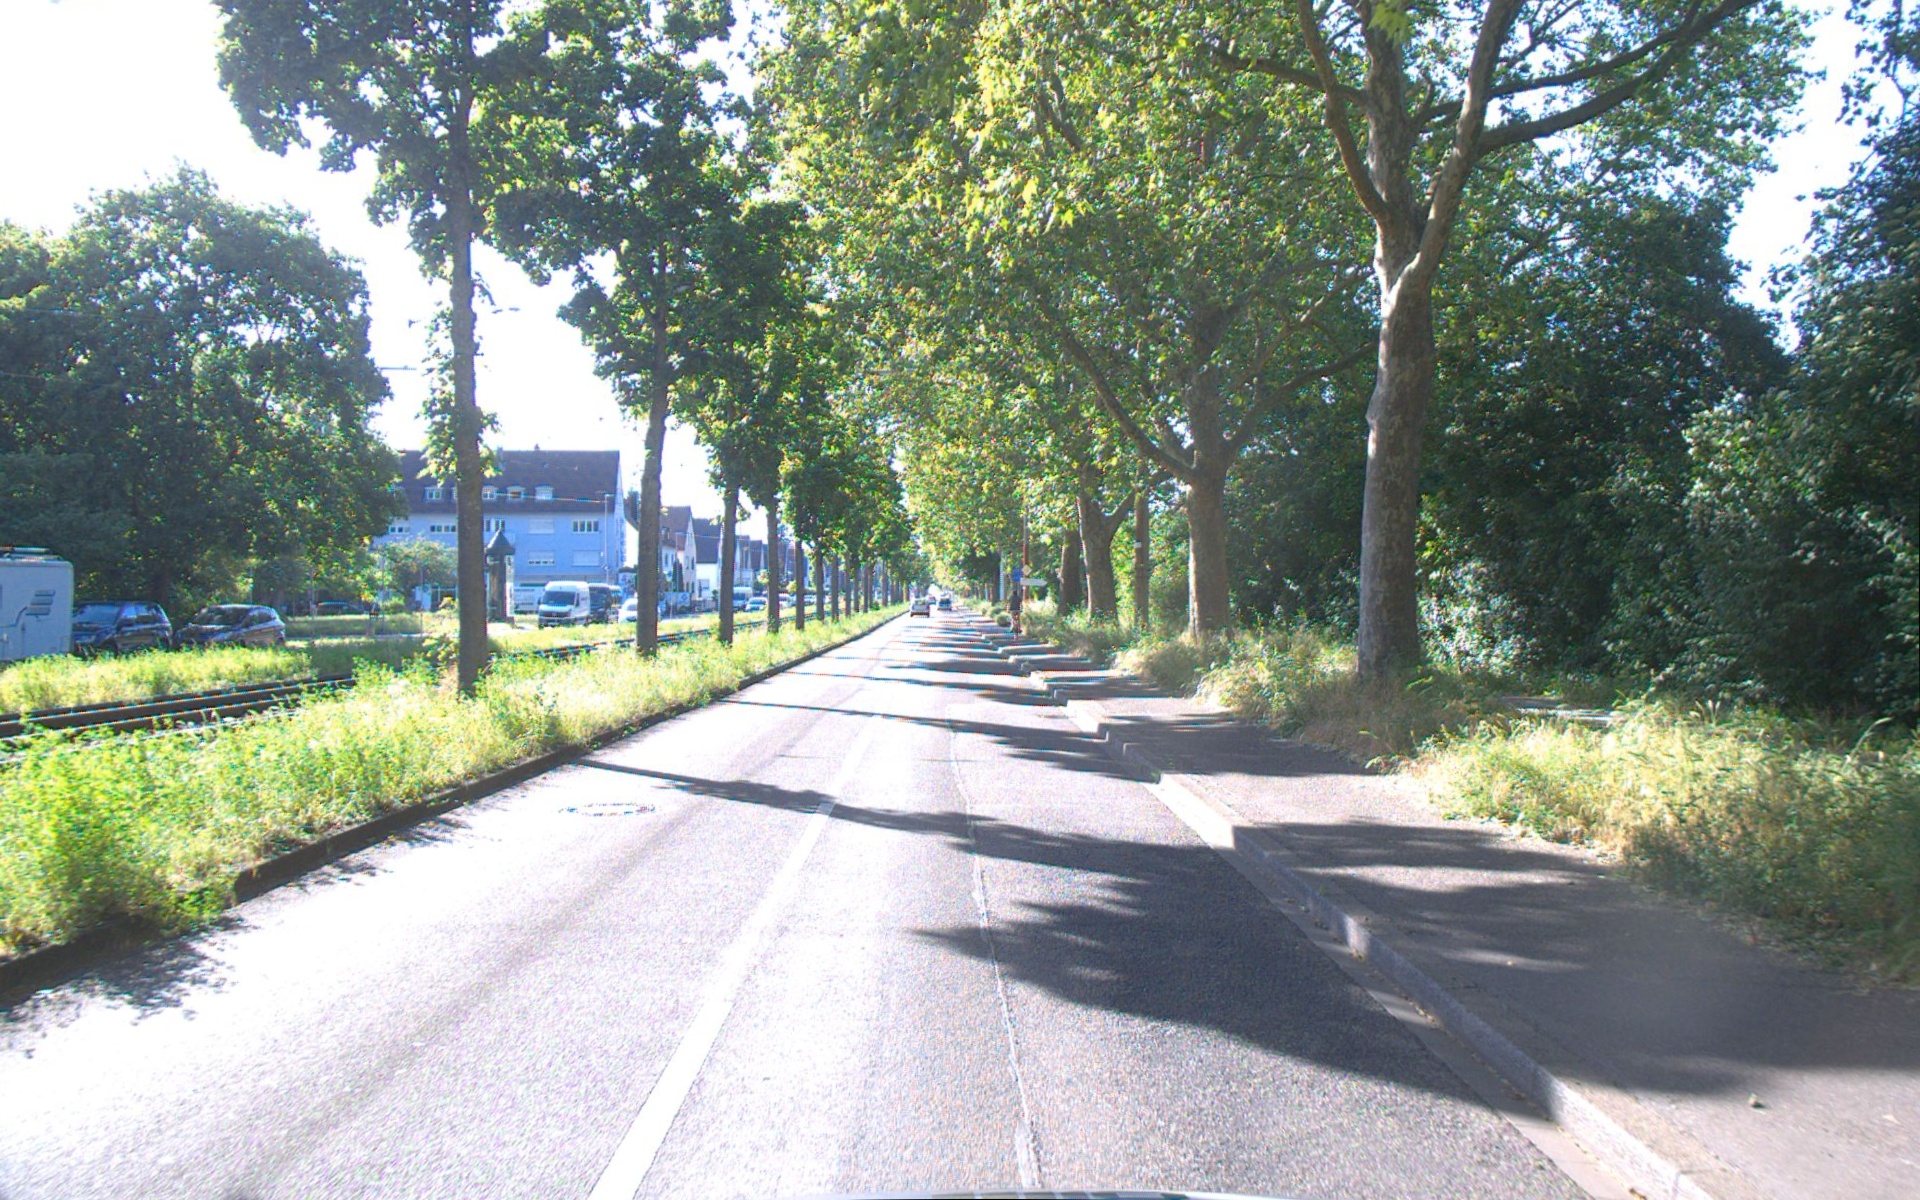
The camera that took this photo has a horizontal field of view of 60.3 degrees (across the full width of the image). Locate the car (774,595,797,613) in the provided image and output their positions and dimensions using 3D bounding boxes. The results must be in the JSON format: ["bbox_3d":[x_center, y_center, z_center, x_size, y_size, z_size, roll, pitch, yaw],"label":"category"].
[{"bbox_3d":[-17.275,0.413,163.698,1.774,1.775,4.981,1,0,-1],"label":"car"}]

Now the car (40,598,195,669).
[{"bbox_3d":[-20.907,0.803,41.254,1.589,1.651,4.532,1,0,-1],"label":"car"}]

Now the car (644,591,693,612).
[{"bbox_3d":[-27.659,0.156,156.910,4.535,1.979,1.994,0,0,-12],"label":"car"}]

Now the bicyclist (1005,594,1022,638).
[{"bbox_3d":[2.023,0.602,62.578,0.601,1.657,0.909,-1,0,-1],"label":"bicyclist"}]

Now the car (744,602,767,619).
[{"bbox_3d":[-17.440,0.903,141.281,1.525,1.419,3.819,1,0,-1],"label":"car"}]

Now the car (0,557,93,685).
[{"bbox_3d":[-20.697,0.414,34.044,2.180,2.625,6.798,1,0,-1],"label":"car"}]

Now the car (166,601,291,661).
[{"bbox_3d":[-21.029,0.864,47.726,1.640,1.612,4.248,1,0,1],"label":"car"}]

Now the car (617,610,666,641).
[{"bbox_3d":[-16.755,1.329,87.073,1.691,1.555,4.442,1,0,0],"label":"car"}]

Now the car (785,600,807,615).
[{"bbox_3d":[-17.790,0.806,179.359,1.952,1.558,3.751,-1,0,0],"label":"car"}]

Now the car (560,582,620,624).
[{"bbox_3d":[-22.015,0.191,98.657,2.138,2.418,6.463,1,0,-1],"label":"car"}]

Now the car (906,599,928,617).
[{"bbox_3d":[-3.419,0.614,133.172,1.703,1.425,3.276,1,0,-1],"label":"car"}]

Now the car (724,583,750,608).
[{"bbox_3d":[-22.953,-0.487,170.481,1.953,2.502,6.673,1,0,-1],"label":"car"}]

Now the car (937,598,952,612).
[{"bbox_3d":[-1.747,0.516,186.566,1.725,1.539,3.276,1,0,0],"label":"car"}]

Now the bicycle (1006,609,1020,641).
[{"bbox_3d":[2.011,0.955,62.594,0.431,1.173,1.823,-1,0,-1],"label":"bicycle"}]

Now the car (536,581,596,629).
[{"bbox_3d":[-21.676,0.275,91.240,1.961,2.540,6.135,1,0,-1],"label":"car"}]
